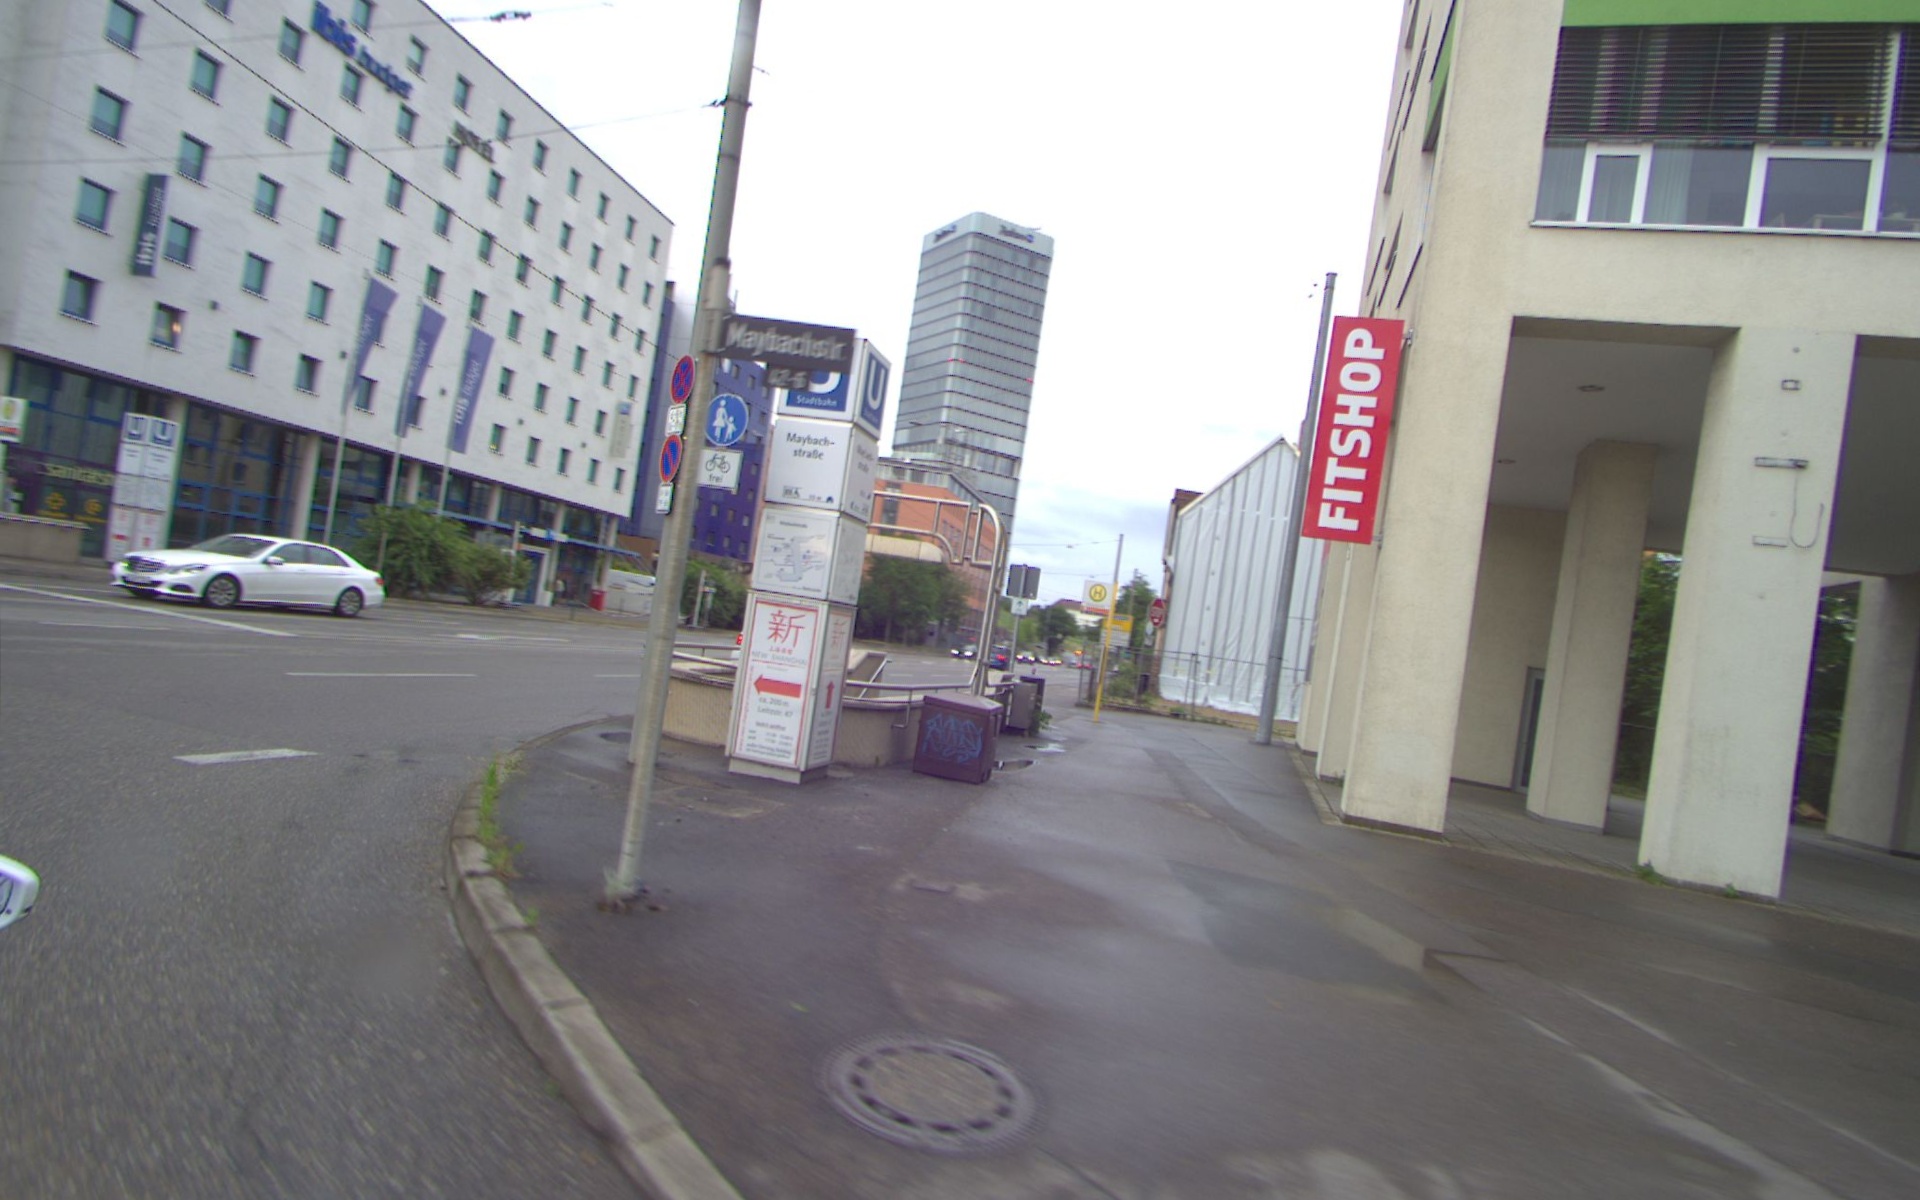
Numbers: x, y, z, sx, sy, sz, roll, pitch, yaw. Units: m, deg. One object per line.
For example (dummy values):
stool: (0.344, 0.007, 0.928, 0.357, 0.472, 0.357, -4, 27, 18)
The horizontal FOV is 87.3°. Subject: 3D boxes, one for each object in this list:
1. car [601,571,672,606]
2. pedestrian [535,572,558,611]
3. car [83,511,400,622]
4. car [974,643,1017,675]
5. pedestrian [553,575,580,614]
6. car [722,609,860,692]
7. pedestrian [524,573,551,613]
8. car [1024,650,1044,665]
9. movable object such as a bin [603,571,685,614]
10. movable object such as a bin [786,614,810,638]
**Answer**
car: (-24.820, -0.888, 77.245, 4.637, 2.035, 1.897, 6, -4, 13)
pedestrian: (-22.760, -0.461, 55.378, 0.803, 2.035, 0.803, 8, -4, -15)
car: (-13.571, -0.528, 19.498, 1.788, 1.402, 4.971, 8, -3, 12)
car: (2.215, 3.671, 62.158, 1.962, 1.591, 4.007, 8, -2, 10)
pedestrian: (-22.157, -0.321, 56.608, 0.804, 2.035, 0.898, 4, -5, 42)
car: (-3.704, 1.182, 22.750, 1.644, 1.490, 3.786, 9, -2, 11)
pedestrian: (-22.726, -0.372, 54.118, 0.789, 2.035, 0.817, 6, -4, 14)
car: (9.139, 7.120, 124.453, 1.728, 1.574, 4.454, 6, -1, 12)
movable object such as a bin: (-24.908, -0.568, 79.423, 5.536, 2.655, 2.167, 6, -4, 12)
movable object such as a bin: (-11.845, 1.907, 73.468, 1.368, 1.506, 0.953, 7, -4, 3)
